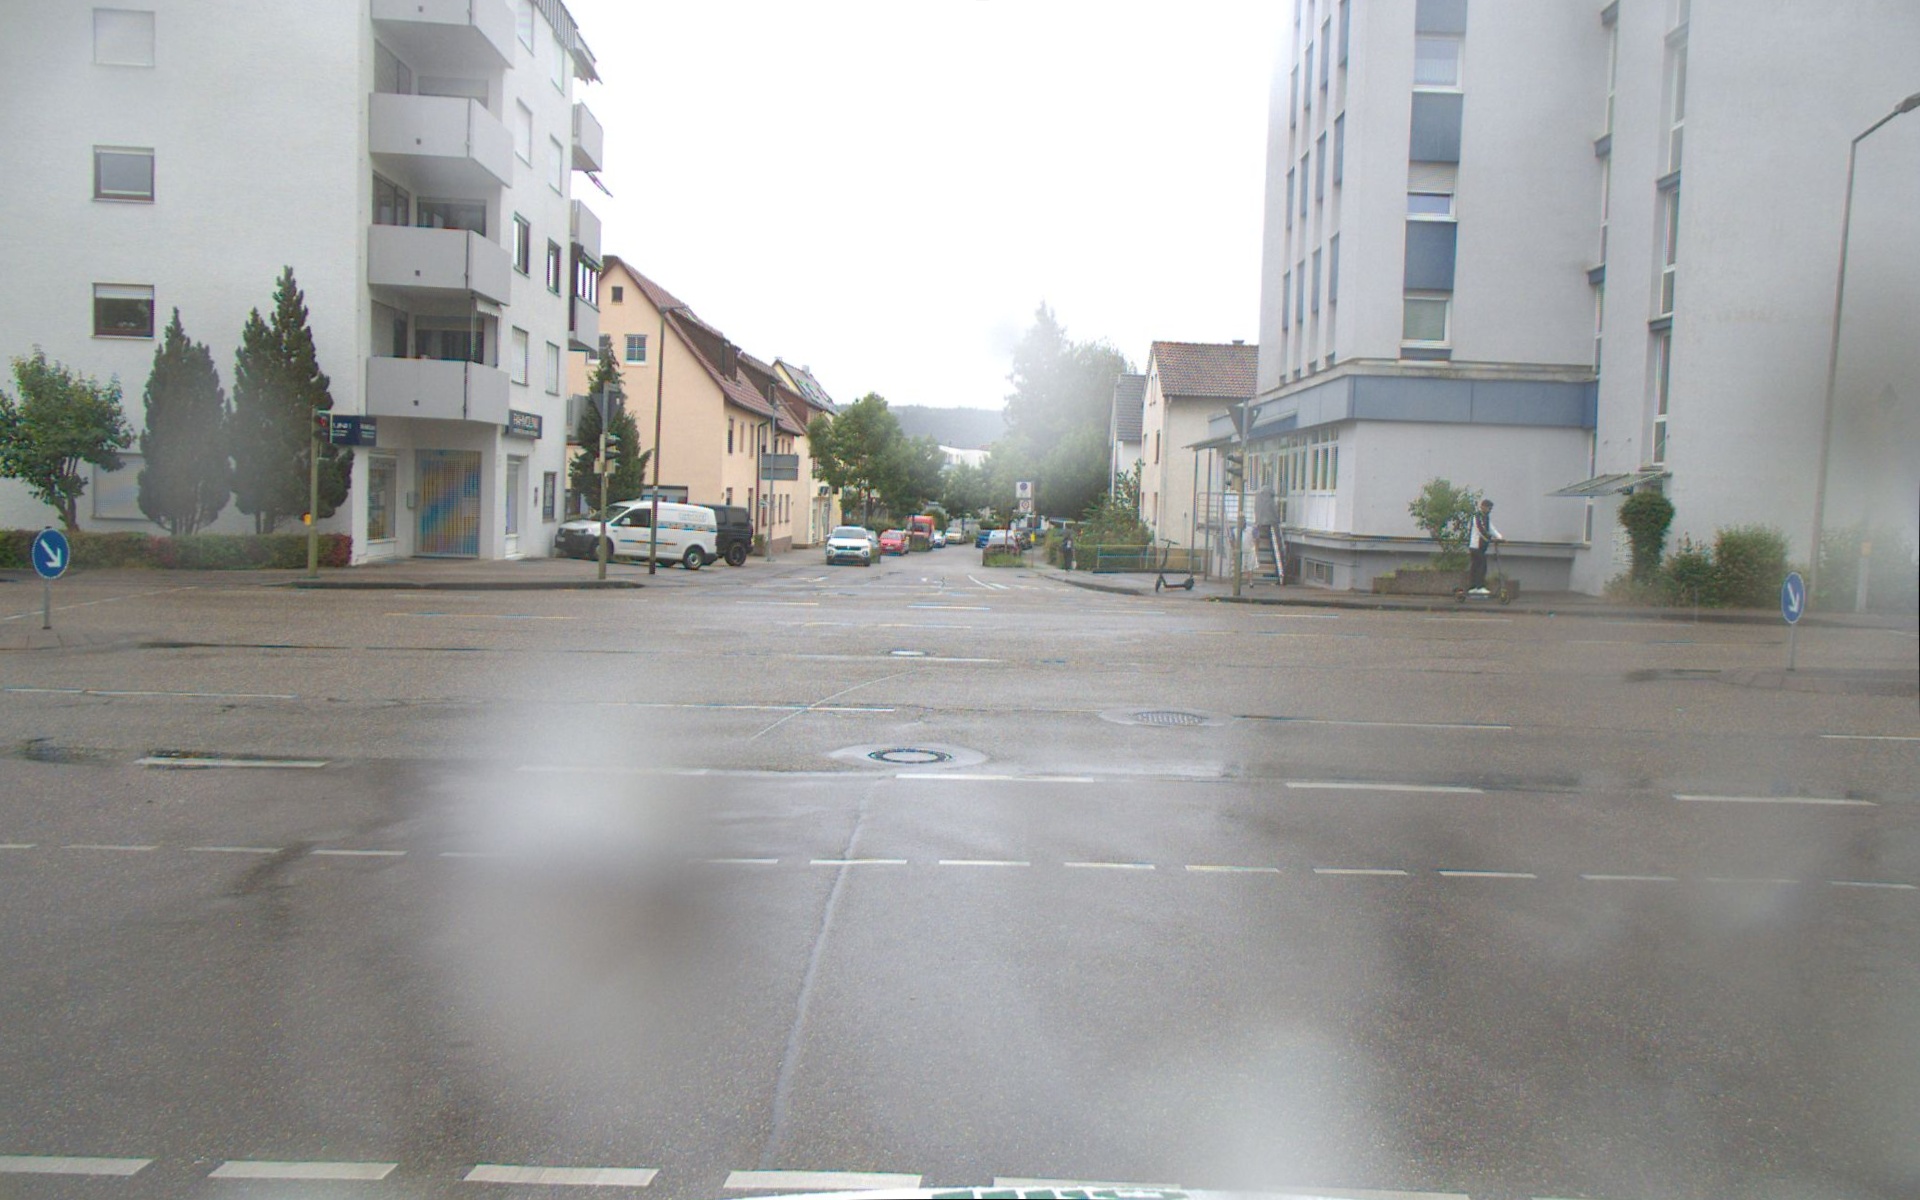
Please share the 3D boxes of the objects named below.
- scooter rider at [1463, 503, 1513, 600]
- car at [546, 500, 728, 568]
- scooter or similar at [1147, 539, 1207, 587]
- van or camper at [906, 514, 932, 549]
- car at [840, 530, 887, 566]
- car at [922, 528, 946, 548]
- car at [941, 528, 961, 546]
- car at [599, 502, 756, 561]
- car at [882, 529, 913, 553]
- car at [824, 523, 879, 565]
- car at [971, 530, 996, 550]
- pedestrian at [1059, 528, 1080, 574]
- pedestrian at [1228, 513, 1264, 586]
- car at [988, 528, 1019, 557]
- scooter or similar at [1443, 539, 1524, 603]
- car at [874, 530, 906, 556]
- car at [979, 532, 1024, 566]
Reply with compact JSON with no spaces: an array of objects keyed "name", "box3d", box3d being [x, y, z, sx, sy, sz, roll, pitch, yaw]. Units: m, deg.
[{"name":"scooter rider","box3d":[10.076,-0.929,31.543,0.660,1.827,0.751,2,2,39]},{"name":"car","box3d":[-9.240,-1.871,47.463,4.796,1.867,1.972,-1,2,-39]},{"name":"scooter or similar","box3d":[5.069,-0.866,38.660,1.243,1.100,0.876,0,2,-5]},{"name":"van or camper","box3d":[-3.135,-5.230,126.684,1.862,2.557,4.239,0,2,0]},{"name":"car","box3d":[-4.589,-2.504,79.275,1.953,1.654,4.192,0,2,0]},{"name":"car","box3d":[-2.153,-5.181,138.575,1.862,1.586,4.192,0,2,0]},{"name":"car","box3d":[-0.815,-5.868,154.584,1.862,1.586,4.192,0,2,0]},{"name":"car","box3d":[-9.262,-2.217,54.430,4.796,1.867,1.972,-1,2,-39]},{"name":"car","box3d":[-4.240,-3.999,112.730,1.862,1.586,4.192,0,2,0]},{"name":"car","box3d":[-4.437,-2.289,67.873,1.953,1.654,4.192,0,2,0]},{"name":"car","box3d":[2.071,-5.208,143.190,1.952,1.713,4.003,1,2,3]},{"name":"pedestrian","box3d":[4.605,-2.061,69.443,0.730,1.880,0.526,4,1,-1]},{"name":"pedestrian","box3d":[6.835,-1.204,39.552,0.635,1.675,0.525,4,1,-7]},{"name":"car","box3d":[2.691,-3.612,103.686,1.862,1.775,4.192,0,2,0]},{"name":"scooter or similar","box3d":[9.999,-0.569,31.617,1.290,1.192,0.755,2,2,40]},{"name":"car","box3d":[-4.394,-3.595,104.323,1.862,1.586,4.192,0,2,0]},{"name":"car","box3d":[2.004,-2.520,81.437,2.102,1.616,4.129,0,2,0]}]
